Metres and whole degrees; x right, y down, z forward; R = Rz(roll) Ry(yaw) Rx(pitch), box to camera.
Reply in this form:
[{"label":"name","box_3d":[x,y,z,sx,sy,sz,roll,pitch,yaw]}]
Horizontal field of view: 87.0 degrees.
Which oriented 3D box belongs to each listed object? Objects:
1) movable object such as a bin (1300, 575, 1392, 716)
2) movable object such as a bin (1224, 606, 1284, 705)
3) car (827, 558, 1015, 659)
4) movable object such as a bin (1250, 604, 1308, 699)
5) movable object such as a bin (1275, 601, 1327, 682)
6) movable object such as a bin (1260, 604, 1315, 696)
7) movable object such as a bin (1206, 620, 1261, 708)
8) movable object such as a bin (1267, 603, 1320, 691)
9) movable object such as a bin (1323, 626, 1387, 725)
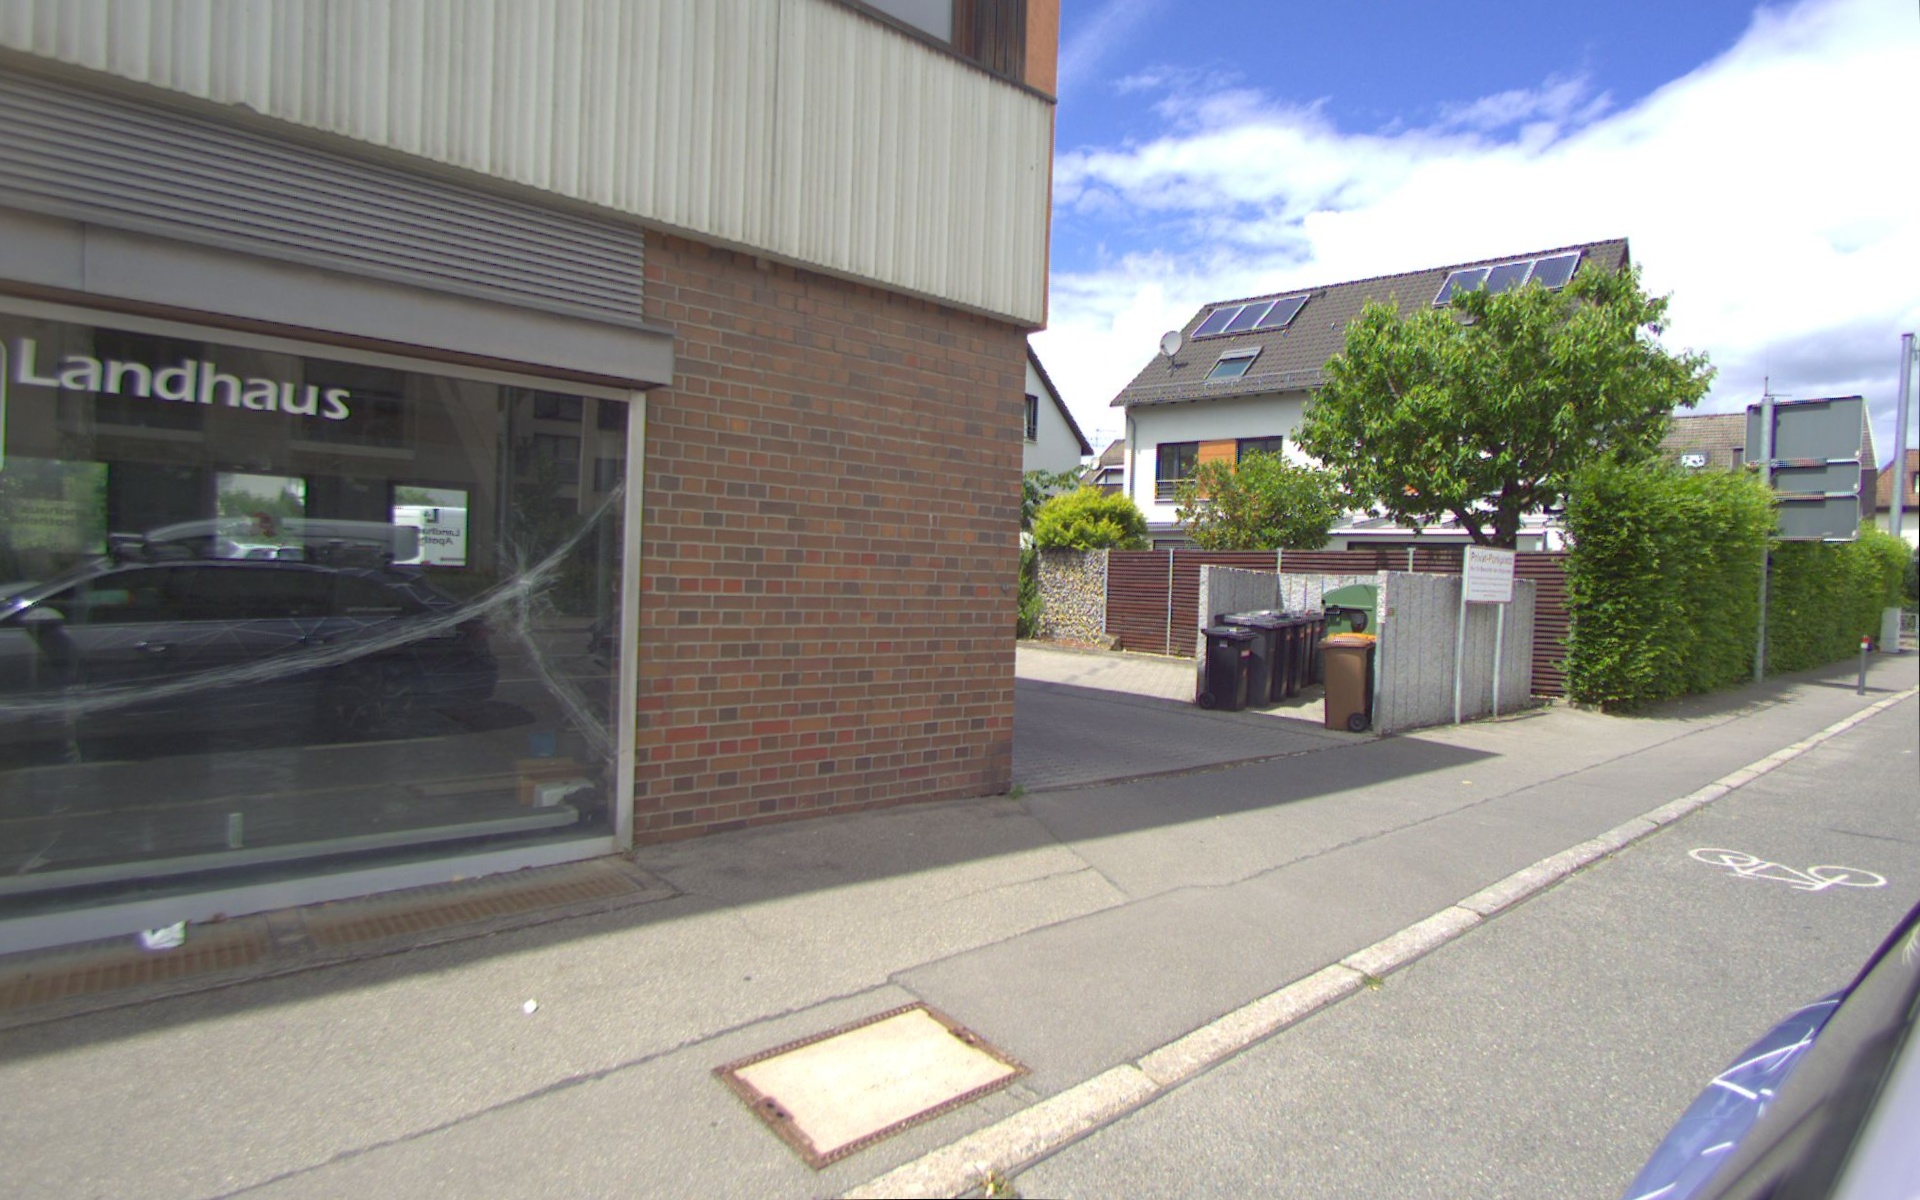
[{"label":"movable object such as a bin","box_3d":[4.233,0.473,11.111,0.471,1.473,0.808,0,1,-45]},{"label":"movable object such as a bin","box_3d":[3.423,0.629,11.776,0.590,1.088,0.485,1,1,25]},{"label":"car","box_3d":[-0.574,0.068,18.483,1.977,1.615,3.971,1,2,22]},{"label":"movable object such as a bin","box_3d":[3.839,0.604,12.172,0.590,1.088,0.485,1,1,25]},{"label":"movable object such as a bin","box_3d":[4.802,0.574,14.246,0.591,1.088,0.484,1,1,30]},{"label":"movable object such as a bin","box_3d":[4.087,0.610,12.630,0.590,1.088,0.485,1,1,25]},{"label":"movable object such as a bin","box_3d":[3.080,0.711,11.394,0.513,0.933,0.475,1,1,25]},{"label":"movable object such as a bin","box_3d":[4.324,0.588,13.100,0.590,1.088,0.485,1,1,25]},{"label":"movable object such as a bin","box_3d":[3.973,0.739,10.167,0.514,0.933,0.474,1,1,31]}]
